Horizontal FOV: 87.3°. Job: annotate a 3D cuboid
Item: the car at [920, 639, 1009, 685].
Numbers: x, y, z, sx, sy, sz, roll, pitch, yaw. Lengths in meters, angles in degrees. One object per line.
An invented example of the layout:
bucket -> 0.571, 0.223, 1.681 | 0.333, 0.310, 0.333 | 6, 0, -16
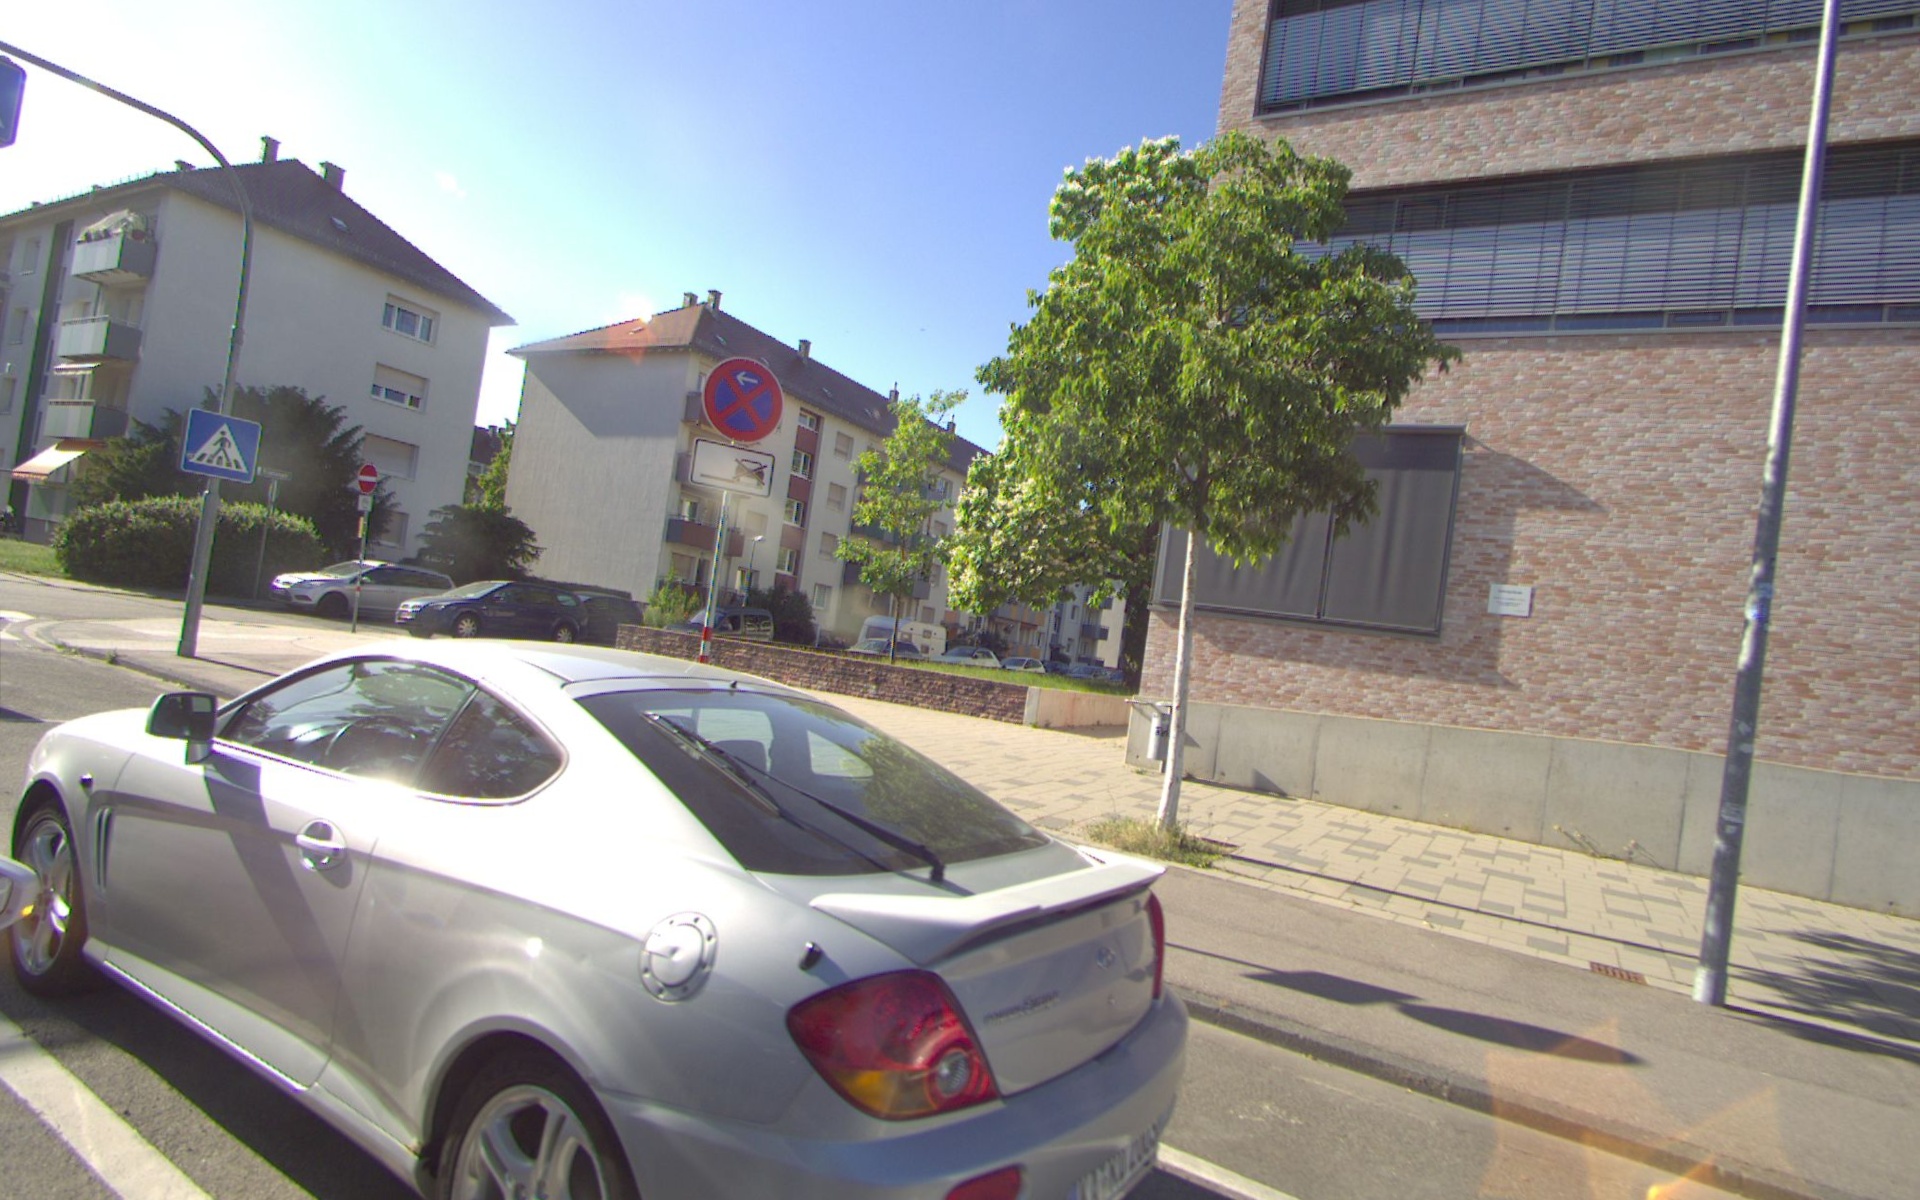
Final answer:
car -> 0.263, 2.699, 43.378 | 1.769, 1.526, 4.494 | 5, -4, 29

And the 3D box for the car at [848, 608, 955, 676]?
car -> -2.694, 2.077, 48.367 | 2.324, 2.646, 5.580 | 5, -4, 29

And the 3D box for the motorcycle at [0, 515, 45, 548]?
motorcycle -> -34.072, -2.537, 35.397 | 0.816, 0.945, 2.567 | 7, -3, 29

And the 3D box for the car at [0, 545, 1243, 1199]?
car -> -1.431, 0.759, 3.274 | 4.099, 1.333, 1.770 | 6, -4, 32

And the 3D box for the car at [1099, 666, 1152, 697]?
car -> 10.245, 5.026, 62.051 | 1.769, 1.526, 4.494 | 5, -4, 29

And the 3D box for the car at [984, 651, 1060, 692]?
car -> 3.034, 3.443, 48.063 | 1.769, 1.526, 4.494 | 5, -4, 29

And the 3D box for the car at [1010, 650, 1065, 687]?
car -> 4.845, 4.262, 62.353 | 1.769, 1.849, 3.999 | 5, -4, 29

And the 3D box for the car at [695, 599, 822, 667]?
car -> -6.989, 1.204, 35.458 | 1.769, 1.842, 4.494 | 5, -4, 29

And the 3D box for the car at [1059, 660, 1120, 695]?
car -> 7.250, 4.357, 56.000 | 1.769, 1.526, 4.494 | 5, -4, 29

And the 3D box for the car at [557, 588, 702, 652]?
car -> -10.976, 0.718, 33.733 | 1.769, 1.557, 4.494 | 5, -4, 29

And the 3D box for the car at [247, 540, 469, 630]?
car -> -15.297, -0.321, 25.858 | 1.769, 1.640, 4.494 | 5, -4, 29

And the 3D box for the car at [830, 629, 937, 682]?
car -> -2.809, 2.127, 37.925 | 1.769, 1.526, 4.494 | 5, -4, 29
